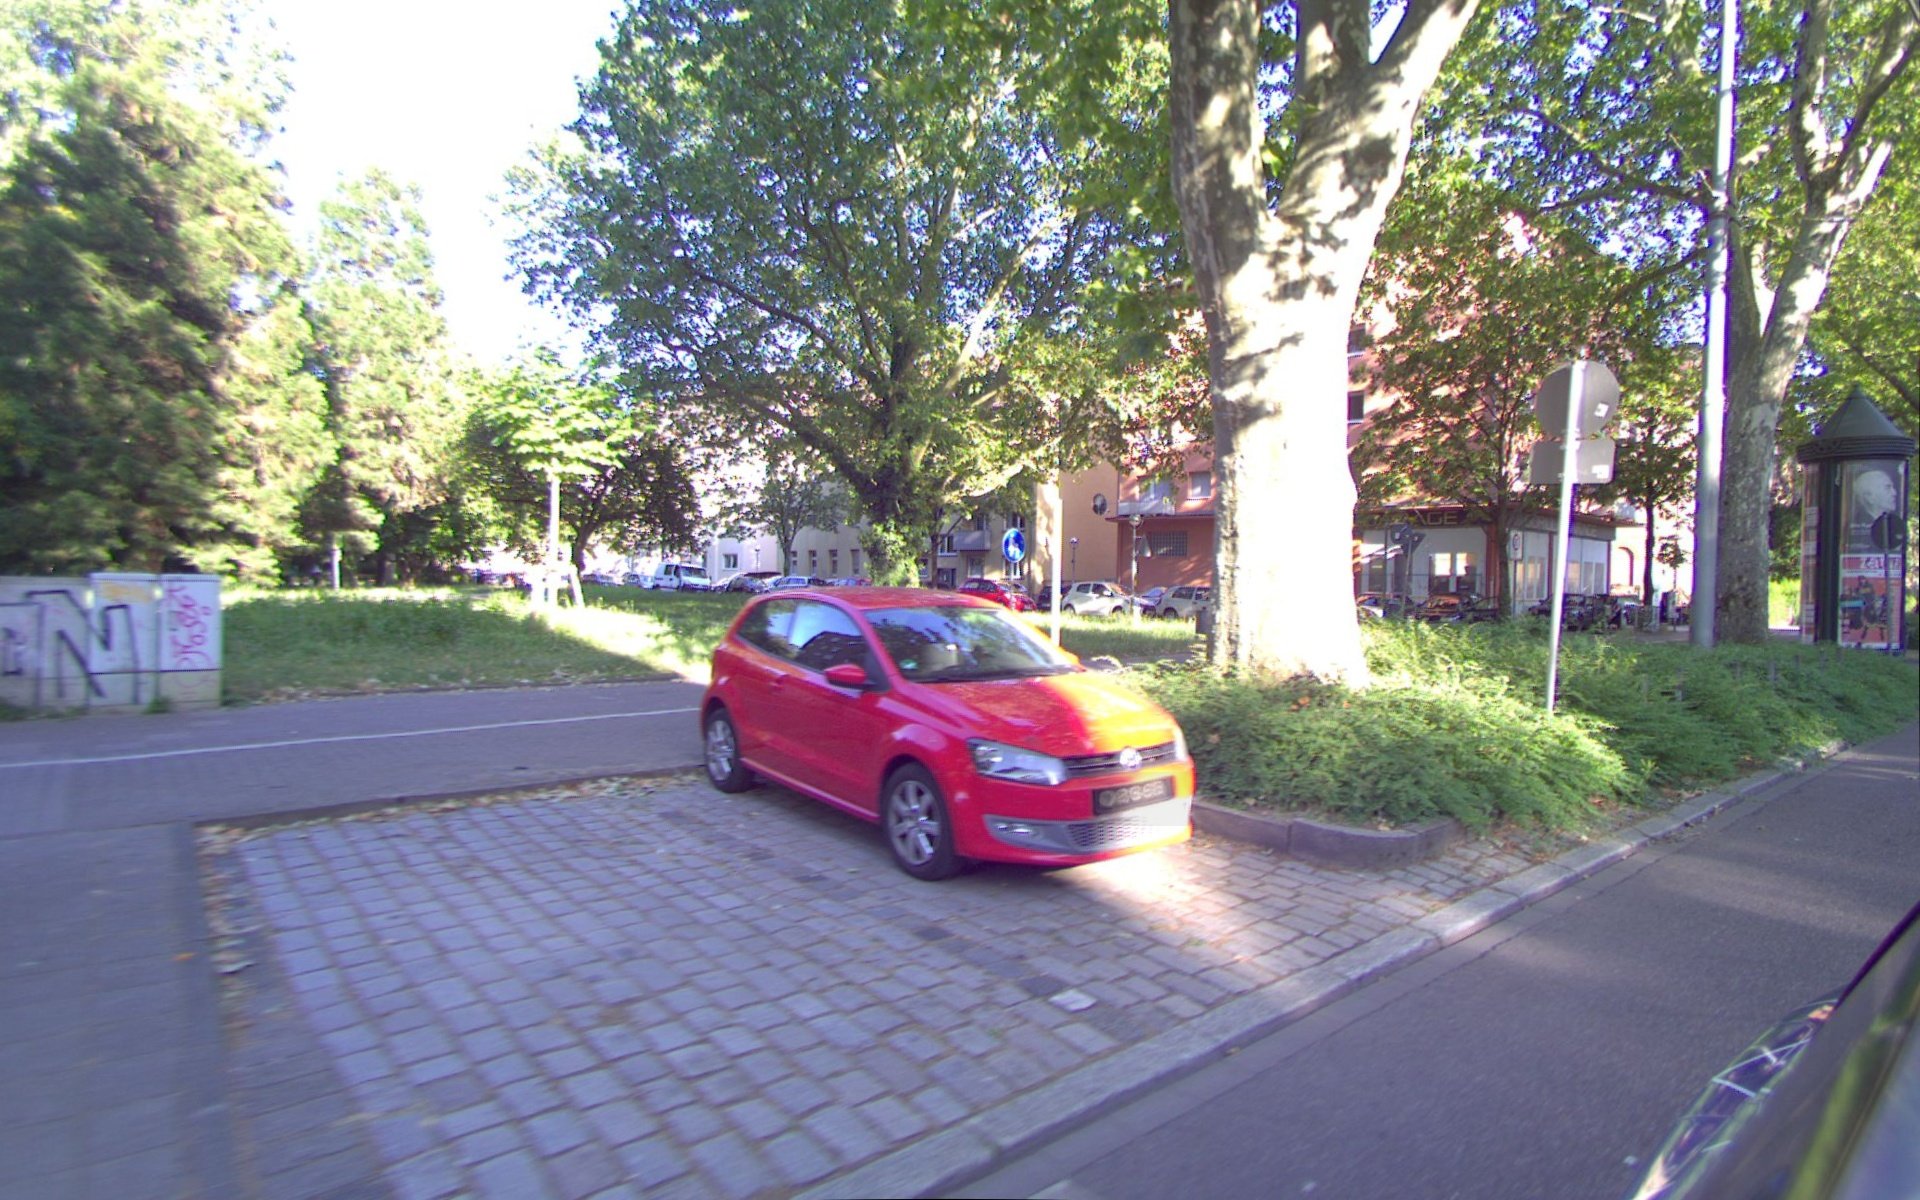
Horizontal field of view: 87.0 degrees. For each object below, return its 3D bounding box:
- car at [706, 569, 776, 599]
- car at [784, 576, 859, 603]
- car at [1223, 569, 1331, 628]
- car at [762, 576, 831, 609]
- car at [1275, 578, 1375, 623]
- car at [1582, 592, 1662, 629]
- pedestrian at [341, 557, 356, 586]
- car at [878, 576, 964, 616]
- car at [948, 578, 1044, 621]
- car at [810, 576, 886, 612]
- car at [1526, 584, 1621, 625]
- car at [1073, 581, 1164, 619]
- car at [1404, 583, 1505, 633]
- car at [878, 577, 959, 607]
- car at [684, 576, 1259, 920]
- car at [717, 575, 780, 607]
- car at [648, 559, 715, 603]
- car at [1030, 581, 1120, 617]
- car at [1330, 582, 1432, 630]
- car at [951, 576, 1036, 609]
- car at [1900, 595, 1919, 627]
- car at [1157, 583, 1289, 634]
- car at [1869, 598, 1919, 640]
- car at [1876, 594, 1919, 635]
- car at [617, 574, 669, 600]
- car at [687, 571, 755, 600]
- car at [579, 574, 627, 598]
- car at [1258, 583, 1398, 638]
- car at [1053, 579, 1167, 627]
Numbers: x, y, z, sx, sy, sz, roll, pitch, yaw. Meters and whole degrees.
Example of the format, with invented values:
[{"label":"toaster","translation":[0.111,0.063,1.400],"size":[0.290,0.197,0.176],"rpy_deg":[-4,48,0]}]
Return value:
[{"label":"car","translation":[-15.243,-1.098,70.532],"size":[4.502,1.931,1.791],"rpy_deg":[1,1,-44]},{"label":"car","translation":[-8.756,-0.629,64.181],"size":[4.502,1.594,1.791],"rpy_deg":[1,1,-44]},{"label":"car","translation":[12.780,-0.071,40.641],"size":[4.999,2.211,1.914],"rpy_deg":[1,1,-43]},{"label":"car","translation":[-8.401,-0.399,51.822],"size":[1.654,1.601,3.924],"rpy_deg":[1,1,-41]},{"label":"car","translation":[14.033,0.026,38.782],"size":[4.502,1.594,1.791],"rpy_deg":[1,1,-44]},{"label":"car","translation":[28.007,0.441,42.772],"size":[3.879,1.452,1.753],"rpy_deg":[1,1,-40]},{"label":"pedestrian","translation":[-35.660,-1.654,59.009],"size":[0.638,1.682,0.649],"rpy_deg":[1,1,-40]},{"label":"car","translation":[-1.747,-0.182,44.468],"size":[1.654,1.601,3.924],"rpy_deg":[1,1,-41]},{"label":"car","translation":[1.422,-0.051,41.170],"size":[1.654,1.601,3.924],"rpy_deg":[1,1,-41]},{"label":"car","translation":[-5.412,-0.304,48.631],"size":[1.654,1.601,3.924],"rpy_deg":[1,1,-41]},{"label":"car","translation":[23.536,0.175,38.747],"size":[4.388,1.452,1.753],"rpy_deg":[1,1,-40]},{"label":"car","translation":[7.331,0.005,46.564],"size":[4.502,1.594,1.791],"rpy_deg":[1,1,-44]},{"label":"car","translation":[17.213,0.268,35.134],"size":[1.790,1.594,4.504],"rpy_deg":[2,1,44]},{"label":"car","translation":[-2.303,-0.444,56.964],"size":[4.502,1.594,1.791],"rpy_deg":[1,1,-44]},{"label":"car","translation":[-0.238,0.608,6.425],"size":[1.617,1.441,3.897],"rpy_deg":[1,1,-36]},{"label":"car","translation":[-11.714,-0.507,55.957],"size":[1.654,1.601,3.924],"rpy_deg":[1,1,-41]},{"label":"car","translation":[-17.198,-1.187,62.263],"size":[1.942,2.594,5.038],"rpy_deg":[1,1,-41]},{"label":"car","translation":[5.516,-0.046,48.099],"size":[4.502,1.594,1.791],"rpy_deg":[1,1,-44]},{"label":"car","translation":[15.141,0.209,36.272],"size":[1.790,1.594,4.504],"rpy_deg":[2,1,44]},{"label":"car","translation":[1.790,-0.353,52.499],"size":[4.502,1.594,1.791],"rpy_deg":[1,1,-44]},{"label":"car","translation":[48.252,0.589,48.660],"size":[1.784,1.575,4.212],"rpy_deg":[1,1,-37]},{"label":"car","translation":[8.589,0.241,33.231],"size":[1.654,1.470,3.924],"rpy_deg":[1,1,-41]},{"label":"car","translation":[37.252,0.771,37.920],"size":[1.782,1.562,4.421],"rpy_deg":[1,1,-32]},{"label":"car","translation":[39.074,0.626,39.688],"size":[1.915,1.562,4.416],"rpy_deg":[1,1,-37]},{"label":"car","translation":[-20.891,-0.863,66.568],"size":[1.769,1.529,3.994],"rpy_deg":[1,1,-41]},{"label":"car","translation":[-17.100,-1.042,72.534],"size":[4.502,1.931,1.791],"rpy_deg":[1,1,-44]},{"label":"car","translation":[-24.937,-0.981,70.606],"size":[1.769,1.529,3.994],"rpy_deg":[1,1,-41]},{"label":"car","translation":[10.858,0.270,30.019],"size":[1.654,1.470,3.544],"rpy_deg":[1,1,-41]},{"label":"car","translation":[5.407,0.074,36.833],"size":[1.654,1.601,3.924],"rpy_deg":[1,1,-41]}]
